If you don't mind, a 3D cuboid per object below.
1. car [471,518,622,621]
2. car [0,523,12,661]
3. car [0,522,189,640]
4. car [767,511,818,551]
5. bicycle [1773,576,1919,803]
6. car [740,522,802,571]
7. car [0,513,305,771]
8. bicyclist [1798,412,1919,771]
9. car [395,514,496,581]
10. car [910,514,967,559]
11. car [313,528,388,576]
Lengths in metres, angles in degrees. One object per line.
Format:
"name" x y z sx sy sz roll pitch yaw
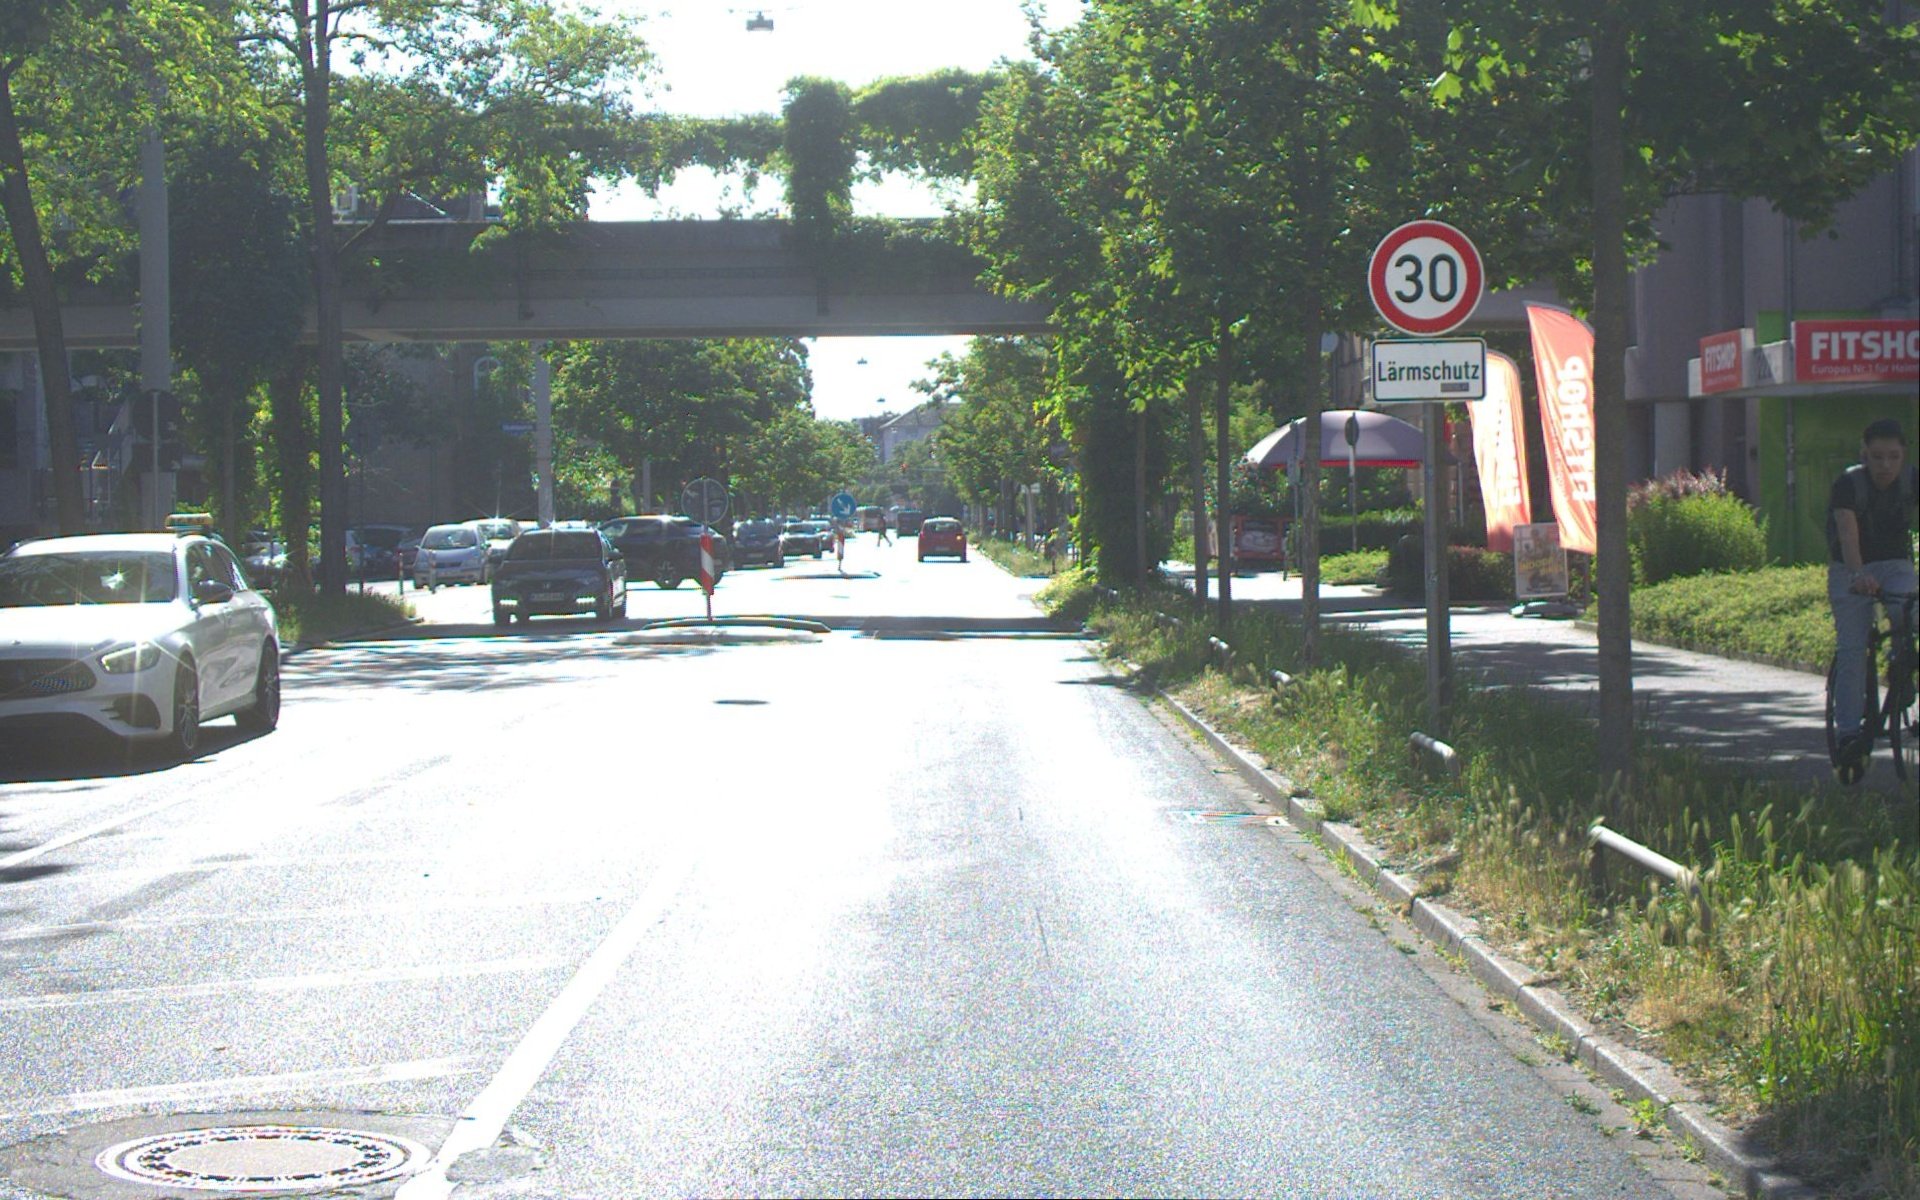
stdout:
"car" -6.339 -0.503 53.123 1.855 1.435 4.319 -2 2 -1
"car" -11.822 -0.054 37.543 1.856 1.563 3.872 0 2 0
"car" -11.956 -0.300 47.235 1.855 1.517 4.319 0 2 -1
"car" -6.568 -2.710 135.166 1.855 1.517 4.319 0 2 -1
"bicycle" 4.492 0.404 16.715 0.589 1.024 1.860 0 1 -1
"car" -6.135 -1.757 112.052 1.855 1.517 4.319 0 2 -1
"car" -5.922 0.217 23.926 1.855 1.562 4.716 -2 2 -1
"bicyclist" 4.502 -0.045 16.623 0.667 1.689 0.889 0 1 0
"car" -12.113 -1.266 81.136 1.855 1.517 4.078 0 2 -1
"car" -0.721 -2.214 119.556 1.856 1.517 4.319 0 2 1
"car" -20.545 -1.635 115.955 1.855 1.517 4.319 0 2 -1
